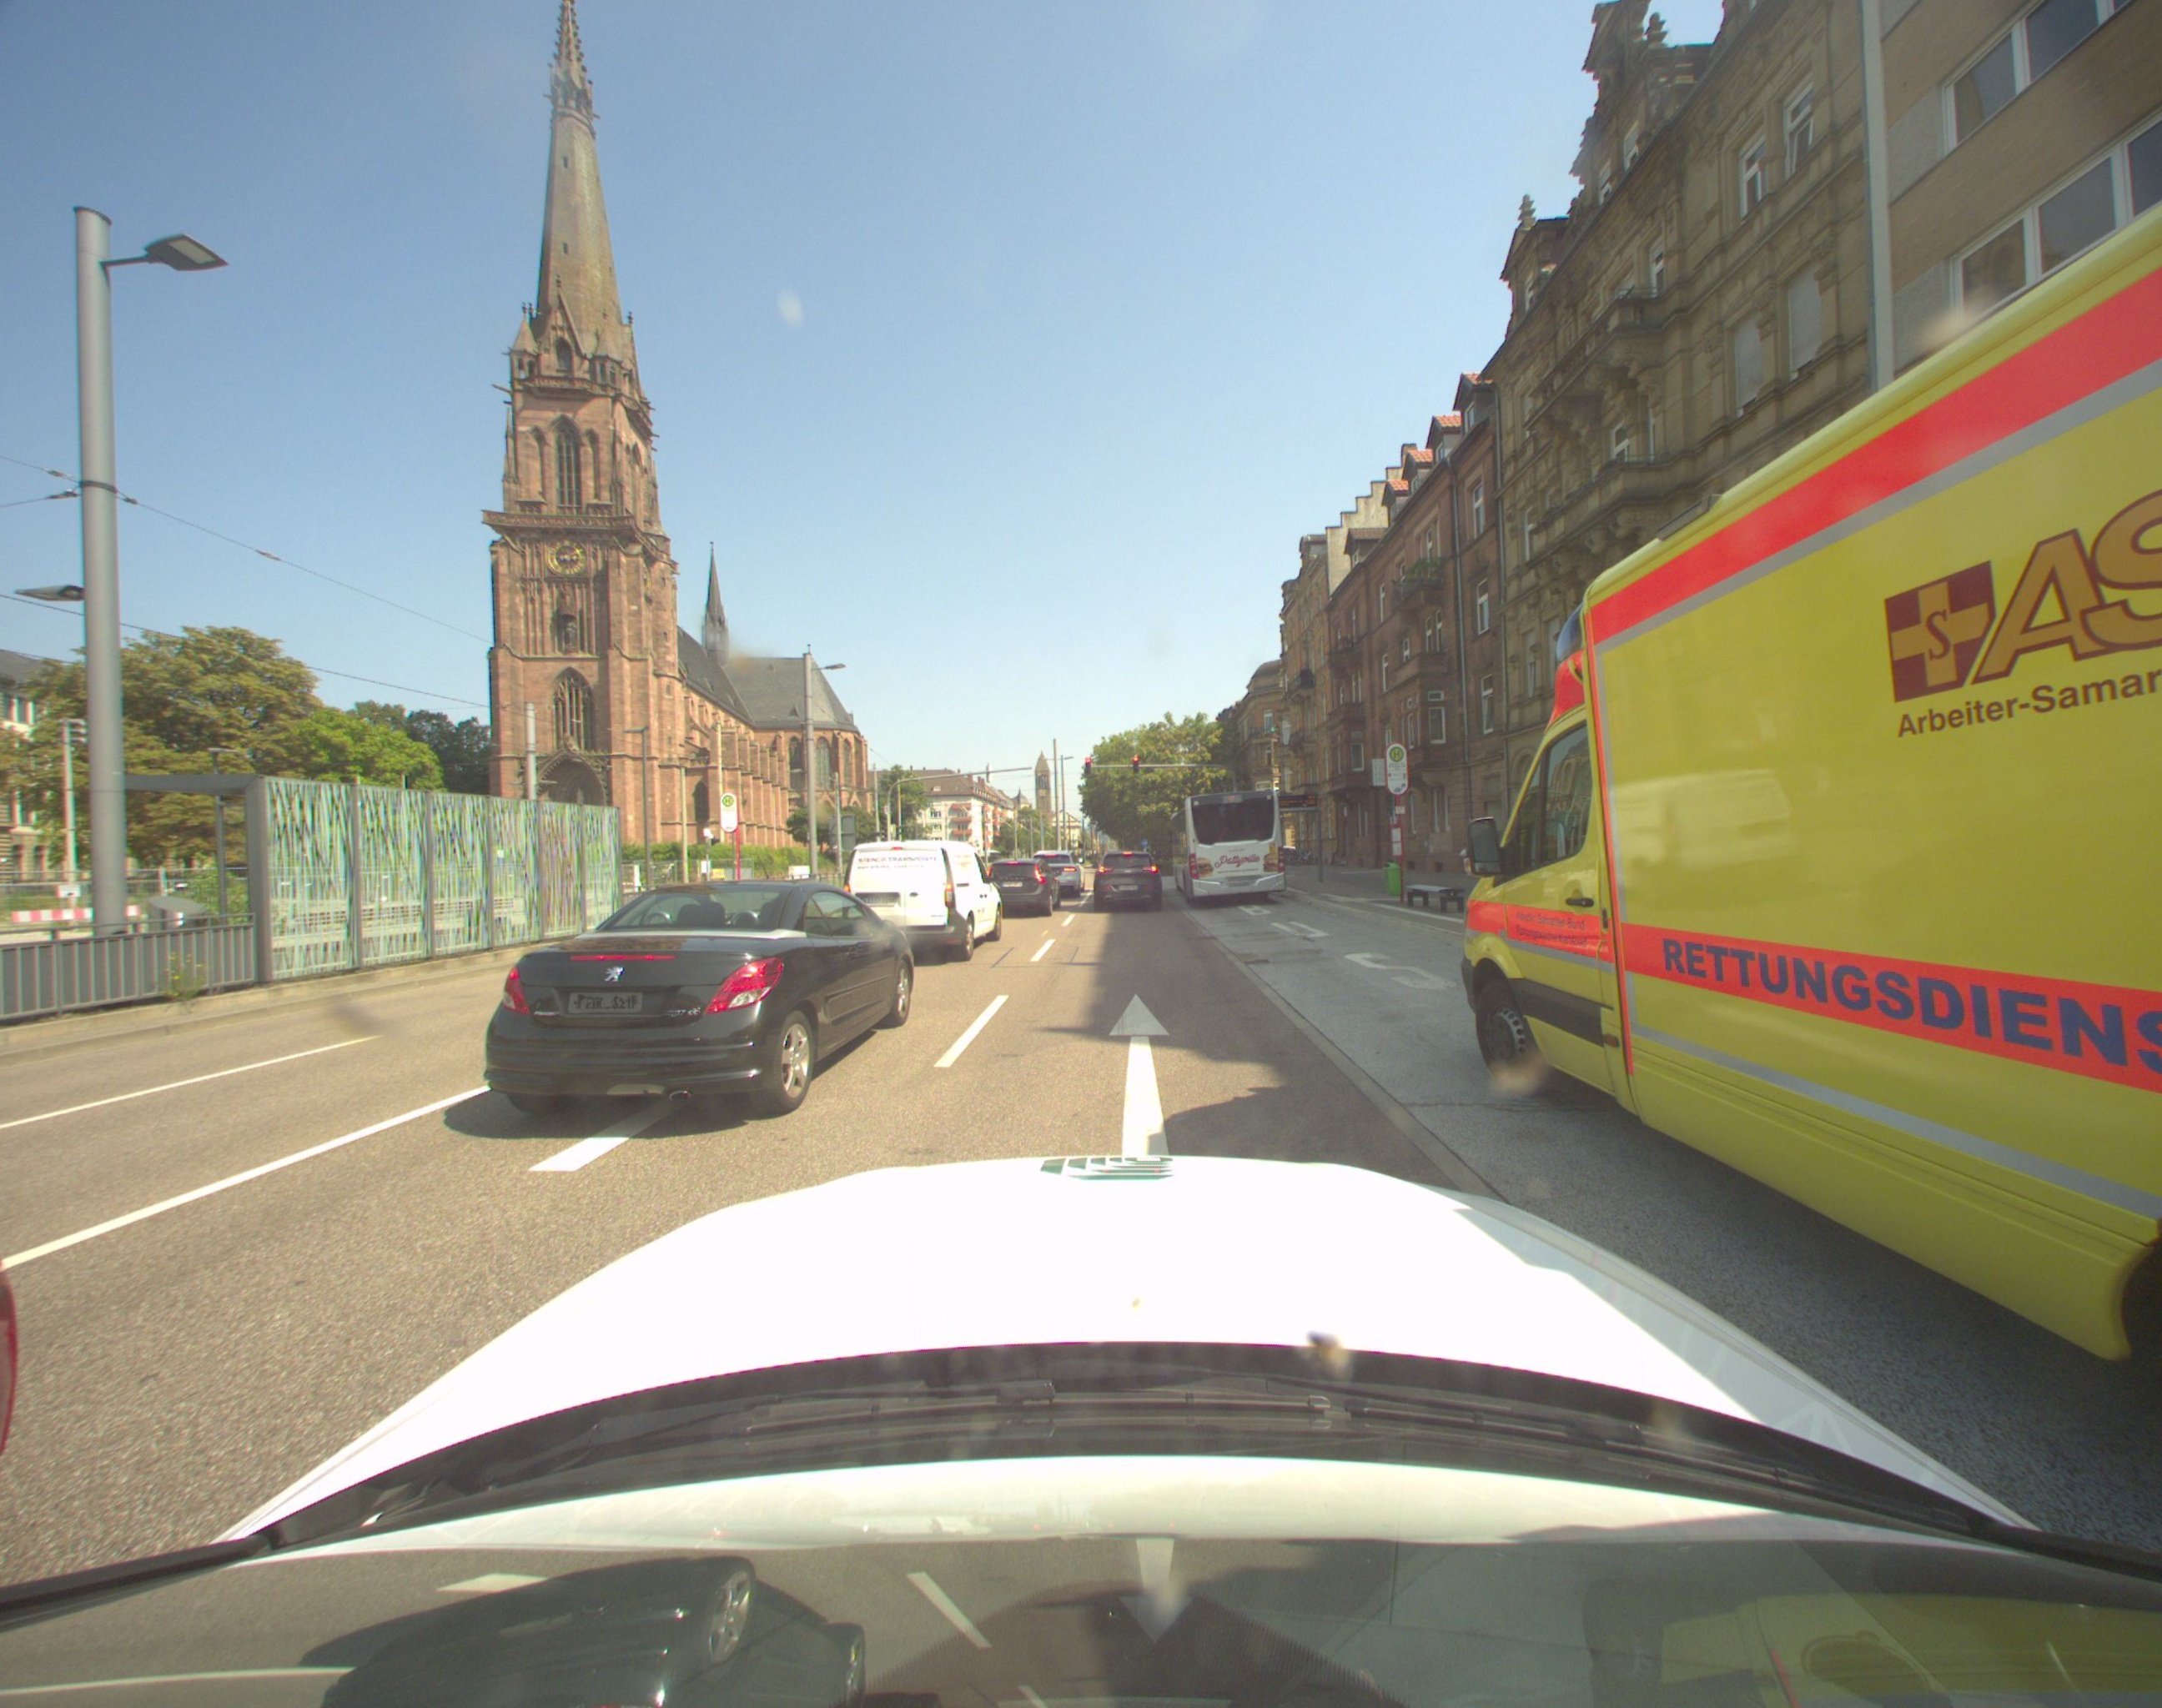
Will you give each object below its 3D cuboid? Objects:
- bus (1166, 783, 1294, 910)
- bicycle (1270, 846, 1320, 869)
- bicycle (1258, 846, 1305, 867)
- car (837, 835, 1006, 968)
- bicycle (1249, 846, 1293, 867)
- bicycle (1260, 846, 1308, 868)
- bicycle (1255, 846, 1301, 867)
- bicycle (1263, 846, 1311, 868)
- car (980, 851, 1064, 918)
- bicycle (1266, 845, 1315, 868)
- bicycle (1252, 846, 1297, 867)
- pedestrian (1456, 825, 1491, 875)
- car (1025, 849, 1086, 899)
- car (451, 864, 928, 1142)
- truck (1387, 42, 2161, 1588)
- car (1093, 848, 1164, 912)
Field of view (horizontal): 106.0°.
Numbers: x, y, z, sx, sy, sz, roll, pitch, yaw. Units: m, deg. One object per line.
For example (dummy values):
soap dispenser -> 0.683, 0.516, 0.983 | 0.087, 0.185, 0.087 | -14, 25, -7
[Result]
bus -> 4.498, -0.193, 27.221 | 2.731, 3.107, 11.969 | -5, 0, 4
bicycle -> 13.834, 0.205, 52.766 | 2.982, 1.371, 0.871 | -2, 0, 1
bicycle -> 13.883, 0.180, 56.479 | 2.992, 1.373, 0.948 | -2, 0, 1
car -> -2.423, 0.658, 13.455 | 1.740, 1.820, 4.242 | -1, 0, 2
bicycle -> 13.965, 0.180, 59.902 | 2.992, 1.373, 0.948 | -2, 0, 1
bicycle -> 13.844, 0.203, 55.535 | 2.982, 1.371, 0.871 | -2, 0, 1
bicycle -> 13.942, 0.183, 57.573 | 2.992, 1.373, 0.948 | -2, 0, 1
bicycle -> 13.779, 0.191, 54.589 | 2.982, 1.371, 0.871 | -2, 0, 1
car -> -1.470, 0.742, 21.950 | 1.740, 1.614, 4.311 | -1, 0, 2
bicycle -> 13.779, 0.191, 53.675 | 2.982, 1.371, 0.871 | -2, 0, 1
bicycle -> 13.899, 0.179, 58.585 | 2.992, 1.373, 0.948 | -2, 0, 1
pedestrian -> 14.201, -0.142, 29.470 | 0.872, 1.778, 0.737 | -2, 0, -25
car -> -0.855, 0.661, 29.749 | 1.895, 1.651, 4.311 | -1, 0, 2
car -> -2.456, 0.820, 6.247 | 1.681, 1.413, 3.803 | -1, 0, 2
truck -> 3.253, -0.079, 2.932 | 2.316, 2.770, 6.349 | -4, 0, 6
car -> 1.375, 0.667, 23.267 | 1.825, 1.651, 4.312 | -1, 0, 4
